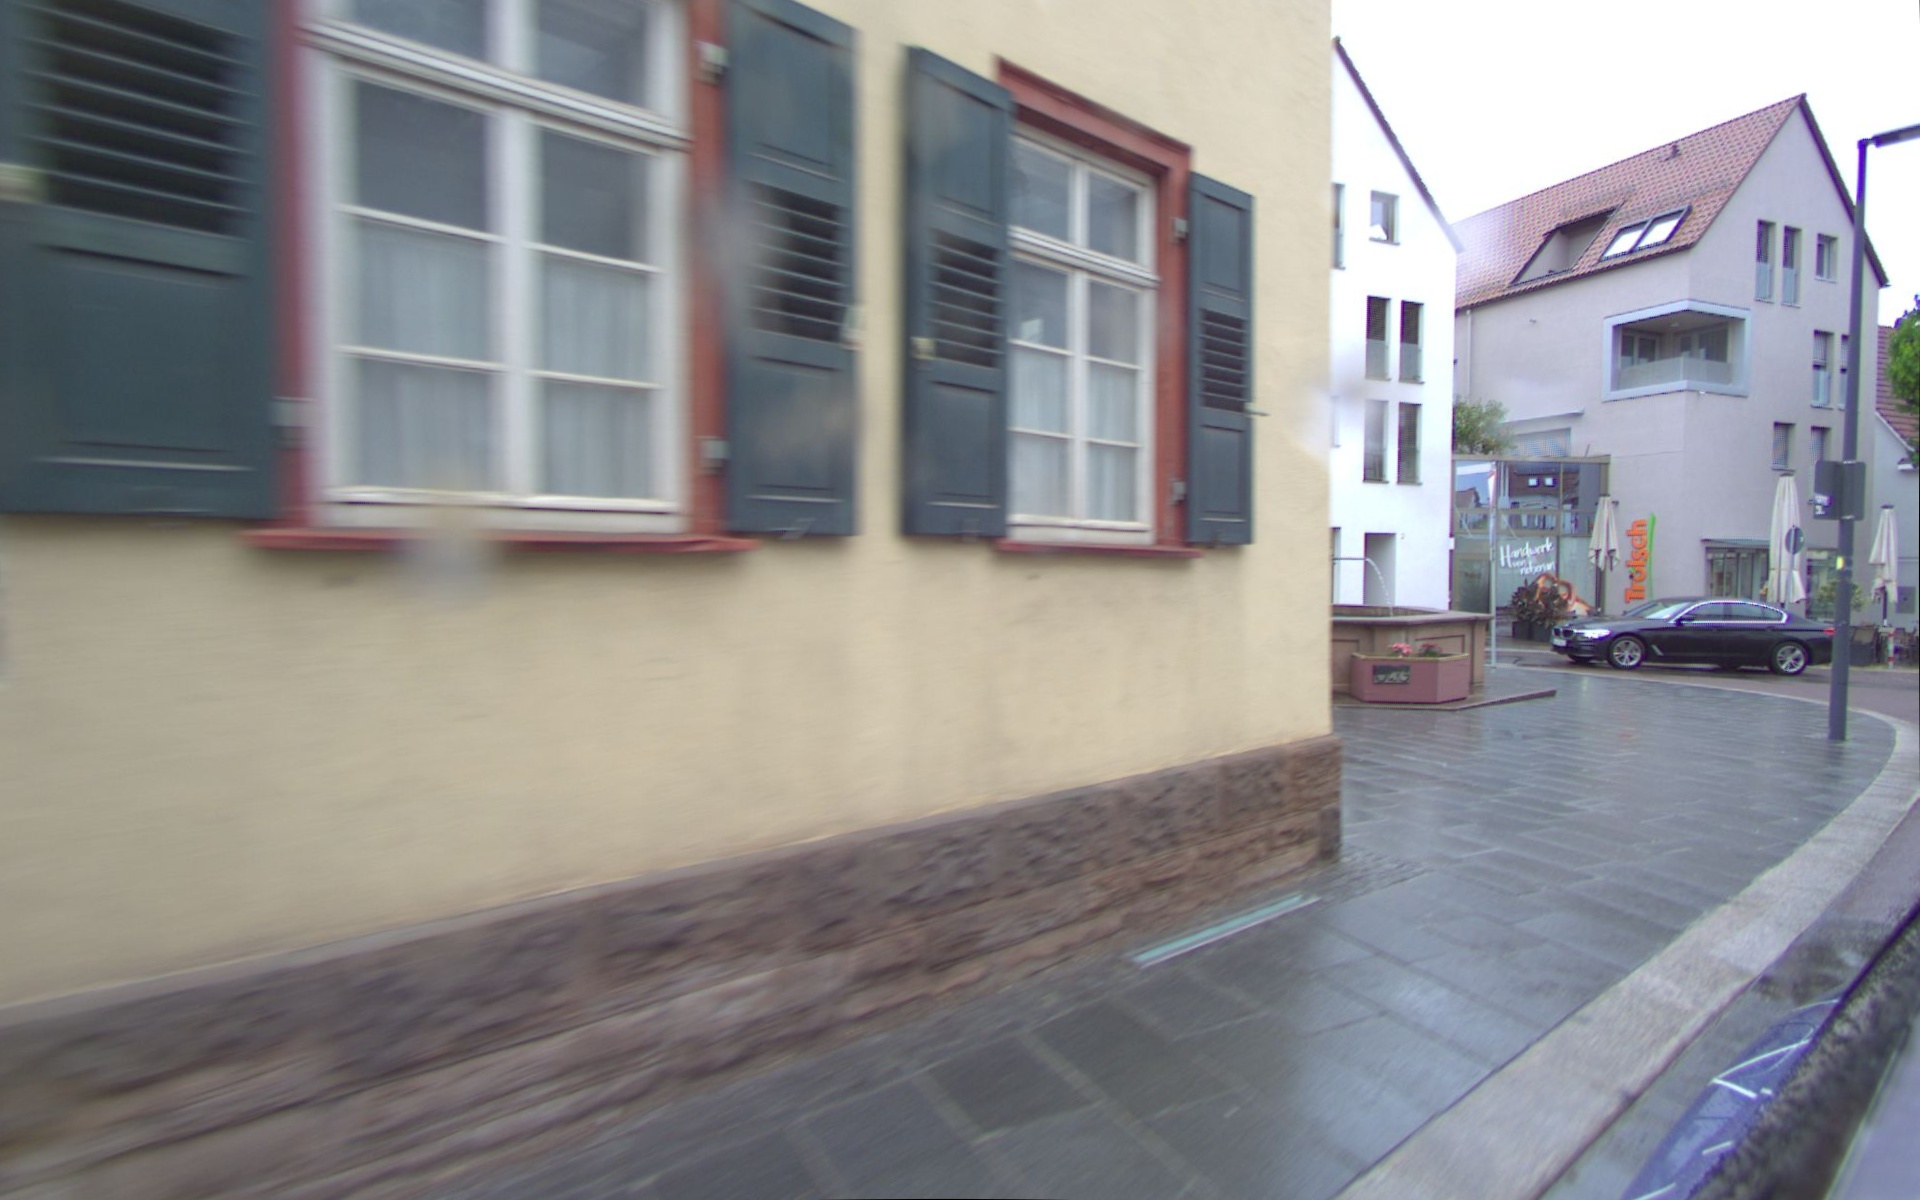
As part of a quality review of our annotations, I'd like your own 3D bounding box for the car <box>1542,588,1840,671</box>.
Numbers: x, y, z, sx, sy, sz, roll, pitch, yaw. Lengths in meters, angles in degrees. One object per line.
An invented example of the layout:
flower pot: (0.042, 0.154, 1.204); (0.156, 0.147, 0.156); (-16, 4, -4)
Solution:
car: (14.350, 0.538, 20.126); (4.370, 1.387, 1.877); (2, 2, 7)
